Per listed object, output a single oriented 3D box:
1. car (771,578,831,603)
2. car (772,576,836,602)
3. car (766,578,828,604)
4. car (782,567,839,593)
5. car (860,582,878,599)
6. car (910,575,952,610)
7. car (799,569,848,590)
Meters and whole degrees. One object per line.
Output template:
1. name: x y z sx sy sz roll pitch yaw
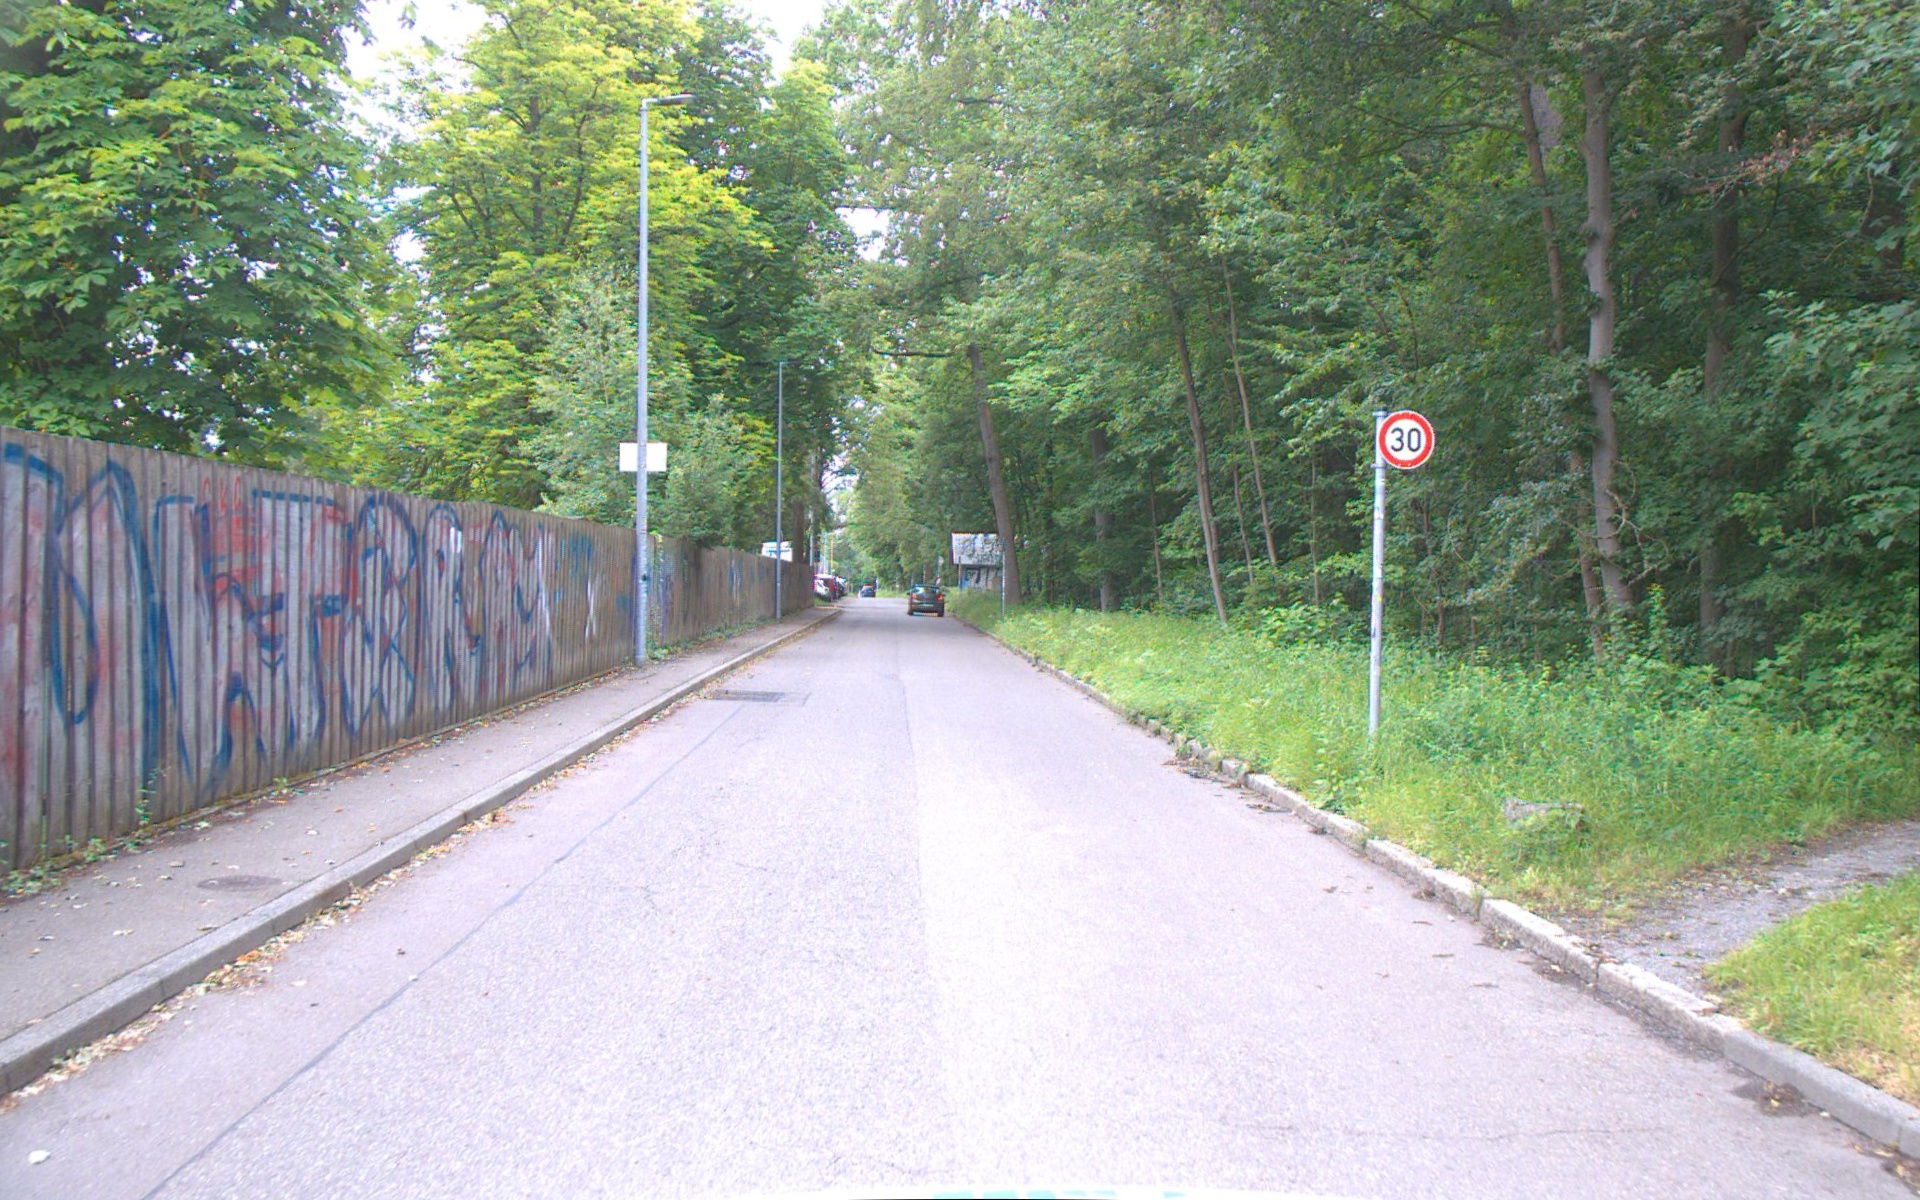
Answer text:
1. car: -10.645 -0.644 110.712 3.910 1.601 1.997 0 0 -7
2. car: -9.706 -0.672 102.796 3.910 1.601 1.997 0 1 -7
3. car: -10.370 -0.576 105.095 3.910 1.601 1.997 0 1 -7
4. car: -10.483 -1.372 115.652 3.910 1.780 1.997 0 0 -7
5. car: -11.810 -1.239 213.895 1.956 2.049 3.993 0 1 -8
6. car: -1.397 -0.336 78.333 1.869 1.534 3.999 3 0 -2
7. car: -11.116 -1.627 134.689 3.907 1.624 1.764 -1 0 -3
